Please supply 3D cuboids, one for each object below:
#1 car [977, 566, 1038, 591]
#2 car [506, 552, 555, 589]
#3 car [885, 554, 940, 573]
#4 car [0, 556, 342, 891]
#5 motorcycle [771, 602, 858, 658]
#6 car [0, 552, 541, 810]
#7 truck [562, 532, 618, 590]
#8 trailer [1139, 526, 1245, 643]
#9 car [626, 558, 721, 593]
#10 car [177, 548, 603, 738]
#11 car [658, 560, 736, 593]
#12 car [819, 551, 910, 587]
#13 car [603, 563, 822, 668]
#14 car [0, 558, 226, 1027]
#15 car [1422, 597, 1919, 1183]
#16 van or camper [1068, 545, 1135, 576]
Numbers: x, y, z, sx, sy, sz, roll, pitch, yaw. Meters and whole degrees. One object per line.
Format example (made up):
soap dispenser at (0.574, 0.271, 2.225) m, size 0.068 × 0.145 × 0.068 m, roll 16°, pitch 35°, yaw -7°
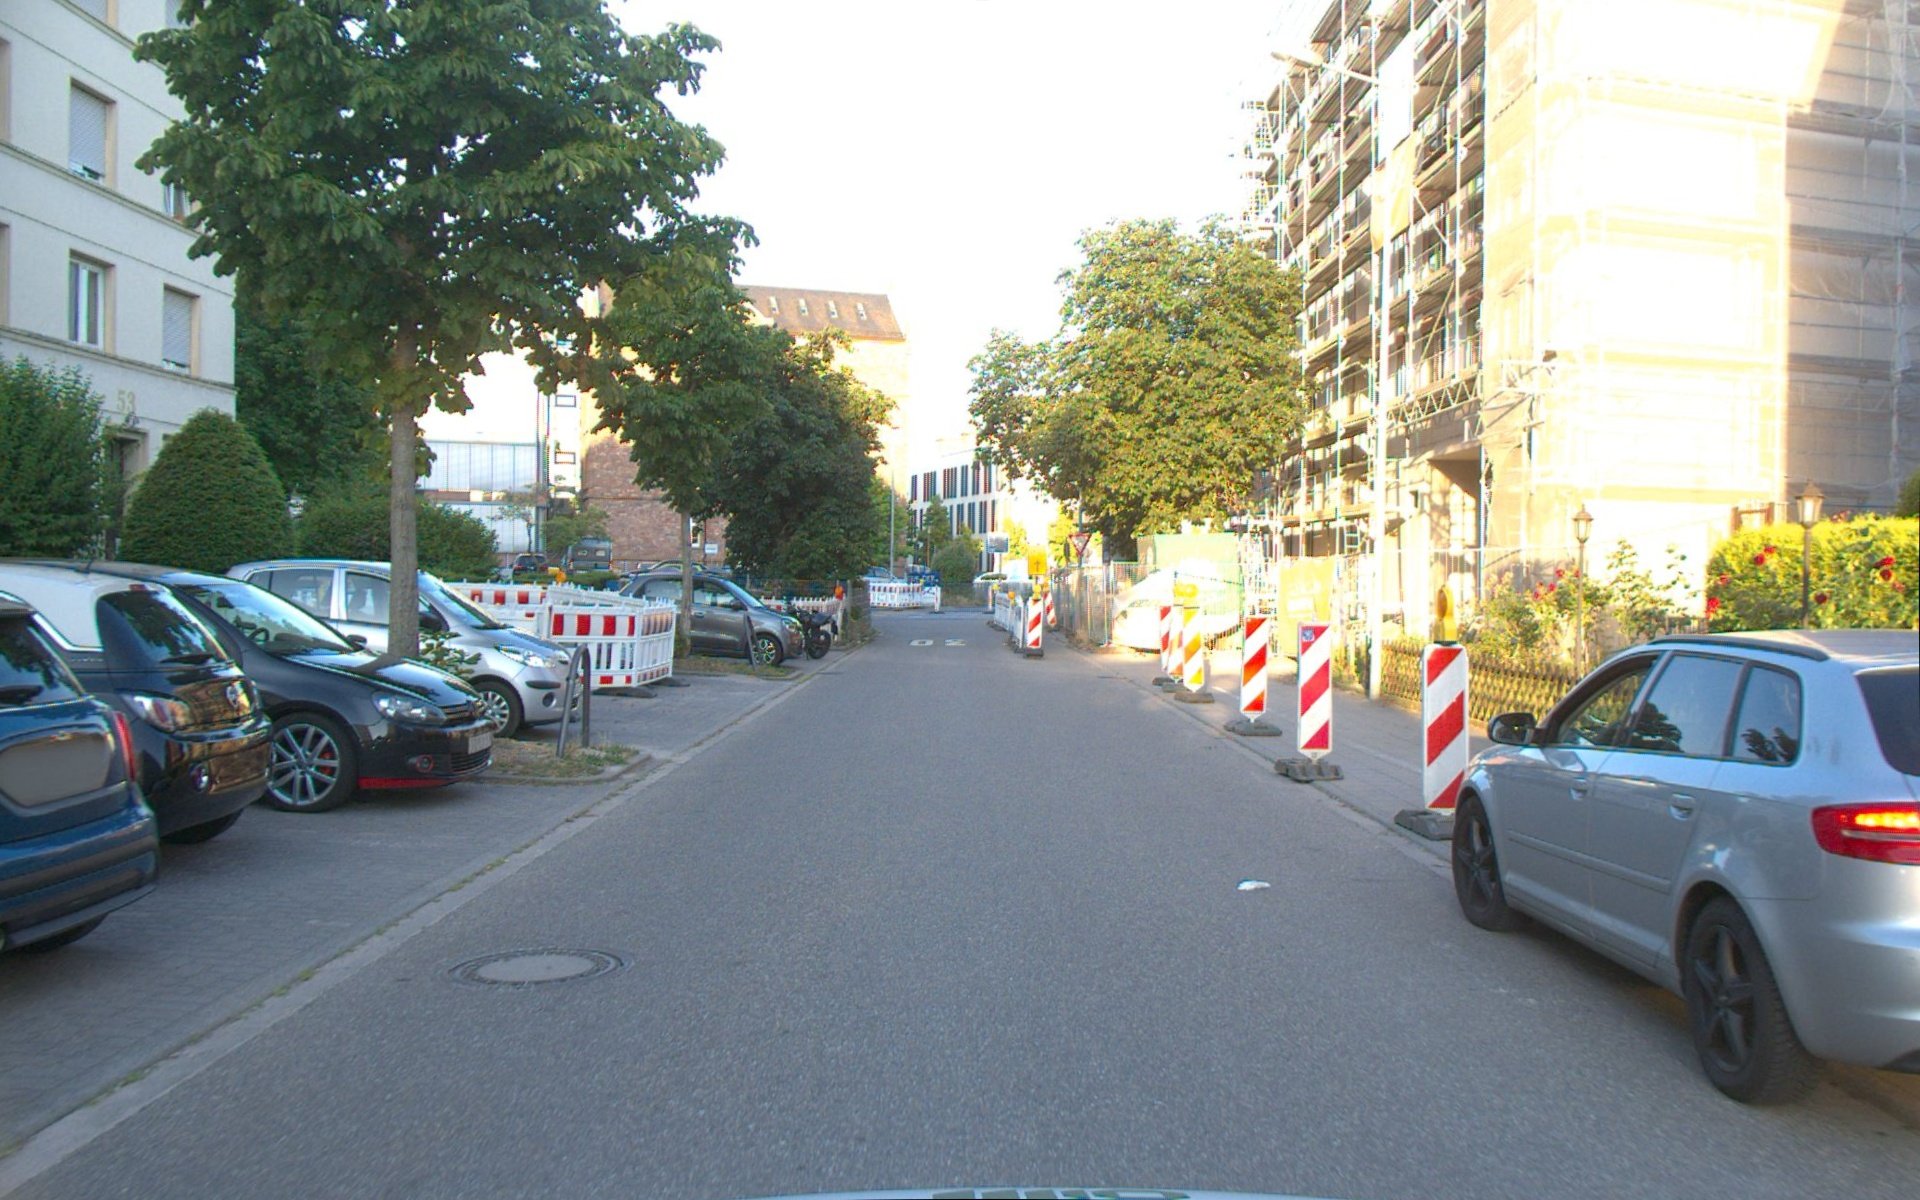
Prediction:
car at (3.146, -1.434, 109.133) m, size 3.687 × 1.631 × 1.676 m, roll 0°, pitch 1°, yaw -22°
car at (-20.481, -1.412, 78.782) m, size 1.964 × 1.721 × 3.978 m, roll 0°, pitch 2°, yaw -19°
car at (-3.683, -2.845, 127.959) m, size 3.926 × 1.335 × 1.868 m, roll 0°, pitch 3°, yaw -19°
car at (-5.336, 0.525, 8.513) m, size 3.601 × 1.510 × 1.728 m, roll 2°, pitch 0°, yaw 2°
motorcycle at (-2.878, 0.585, 32.932) m, size 0.527 × 1.038 × 2.208 m, roll 4°, pitch 1°, yaw 29°
car at (-5.041, 0.488, 11.185) m, size 3.895 × 1.515 × 1.728 m, roll 2°, pitch 0°, yaw 2°
truck at (-17.843, -1.880, 79.591) m, size 2.296 × 2.662 × 4.951 m, roll 0°, pitch 1°, yaw -17°
trailer at (5.395, -0.394, 38.916) m, size 1.952 × 2.584 × 4.187 m, roll 0°, pitch 1°, yaw 1°
car at (-14.123, -1.204, 81.511) m, size 4.509 × 1.666 × 1.568 m, roll 0°, pitch 1°, yaw -17°
car at (-5.255, 0.388, 15.614) m, size 3.405 × 1.593 × 1.727 m, roll 2°, pitch 0°, yaw -3°
car at (-12.669, -1.132, 79.708) m, size 3.573 × 1.530 × 1.630 m, roll 0°, pitch 1°, yaw -17°
car at (-4.734, -1.540, 81.805) m, size 4.204 × 1.738 × 1.694 m, roll 0°, pitch 1°, yaw -19°
car at (-4.324, 0.254, 29.300) m, size 3.550 × 1.583 × 1.693 m, roll 4°, pitch 1°, yaw 0°
car at (-4.771, 0.549, 5.763) m, size 3.601 × 1.470 × 1.728 m, roll 2°, pitch 0°, yaw 2°
car at (3.220, 0.749, 6.301) m, size 1.739 × 1.421 × 4.107 m, roll 1°, pitch 1°, yaw 0°
van or camper at (10.726, -2.948, 125.238) m, size 4.892 × 2.279 × 1.676 m, roll 0°, pitch 1°, yaw -22°
